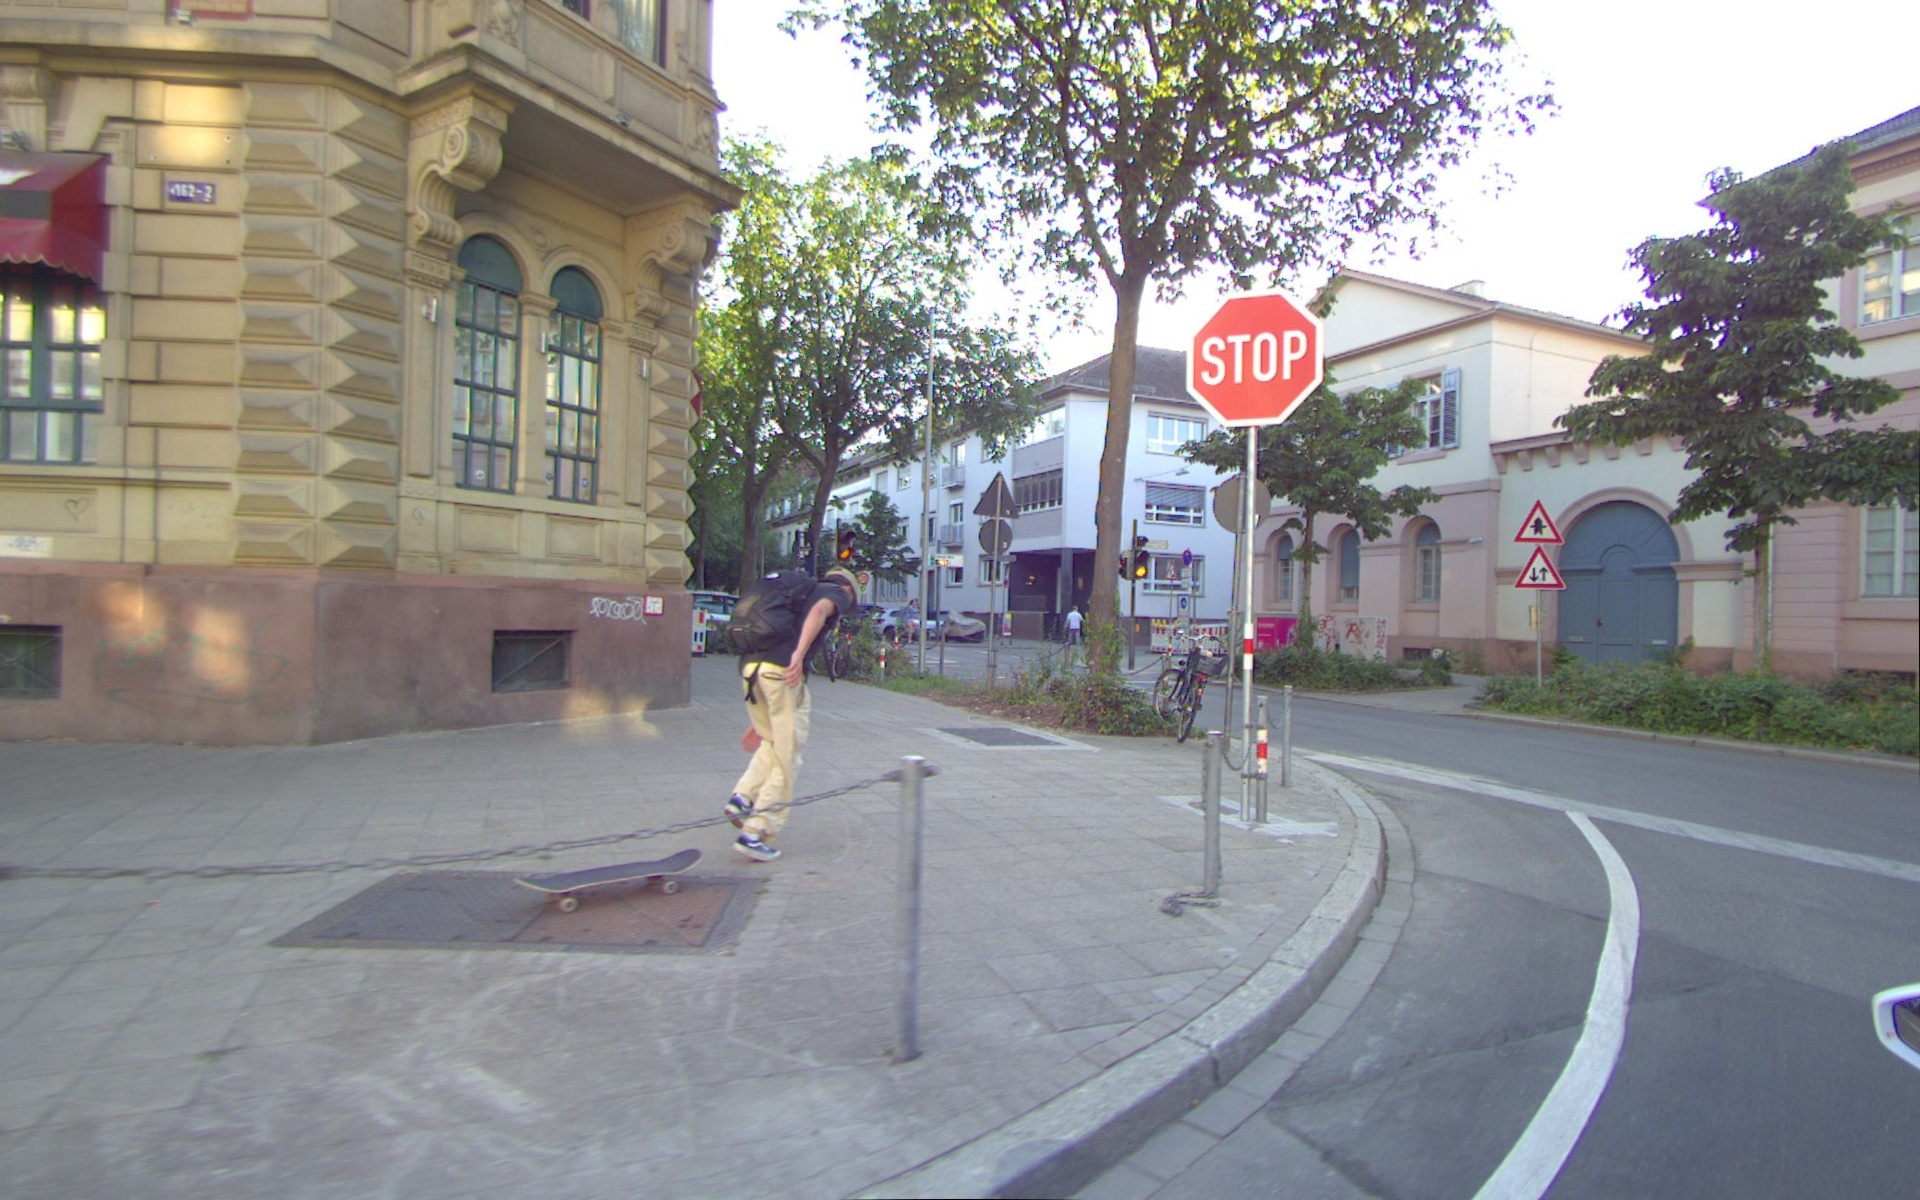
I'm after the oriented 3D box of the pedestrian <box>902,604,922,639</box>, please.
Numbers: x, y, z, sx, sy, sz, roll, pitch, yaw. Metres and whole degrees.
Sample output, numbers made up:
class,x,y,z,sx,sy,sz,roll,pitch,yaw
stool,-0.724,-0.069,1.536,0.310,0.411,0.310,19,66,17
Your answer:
class,x,y,z,sx,sy,sz,roll,pitch,yaw
pedestrian,-2.581,1.154,54.357,0.758,1.865,0.938,2,0,-23

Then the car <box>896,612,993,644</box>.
class,x,y,z,sx,sy,sz,roll,pitch,yaw
car,-0.677,1.244,44.586,3.971,1.360,1.697,1,-1,-24

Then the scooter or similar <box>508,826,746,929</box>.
class,x,y,z,sx,sy,sz,roll,pitch,yaw
scooter or similar,-1.405,1.158,4.270,0.874,0.210,0.414,2,0,-38

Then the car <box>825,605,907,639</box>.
class,x,y,z,sx,sy,sz,roll,pitch,yaw
car,-4.908,1.157,52.547,3.972,1.713,1.697,1,0,-24

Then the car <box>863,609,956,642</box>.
class,x,y,z,sx,sy,sz,roll,pitch,yaw
car,-2.336,1.205,46.760,3.972,1.461,1.697,1,-1,-24

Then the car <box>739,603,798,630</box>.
class,x,y,z,sx,sy,sz,roll,pitch,yaw
car,-14.172,1.209,74.235,3.972,1.854,1.697,2,-1,-24

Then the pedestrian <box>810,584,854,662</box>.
class,x,y,z,sx,sy,sz,roll,pitch,yaw
pedestrian,-3.095,0.562,24.292,0.877,1.839,0.790,1,0,-19

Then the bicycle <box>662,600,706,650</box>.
class,x,y,z,sx,sy,sz,roll,pitch,yaw
bicycle,-7.208,0.623,26.153,0.726,1.202,2.620,3,-1,-22

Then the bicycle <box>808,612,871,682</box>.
class,x,y,z,sx,sy,sz,roll,pitch,yaw
bicycle,-2.242,0.843,18.485,0.505,1.168,2.089,3,-1,-23

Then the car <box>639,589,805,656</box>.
class,x,y,z,sx,sy,sz,roll,pitch,yaw
car,-7.090,0.691,29.991,4.504,1.859,1.821,2,-1,-27

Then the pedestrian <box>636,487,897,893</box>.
class,x,y,z,sx,sy,sz,roll,pitch,yaw
pedestrian,-0.914,0.391,5.113,0.833,1.762,1.267,3,1,10

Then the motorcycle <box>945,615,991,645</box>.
class,x,y,z,sx,sy,sz,roll,pitch,yaw
motorcycle,0.328,1.255,41.574,1.775,1.215,0.611,1,0,-15

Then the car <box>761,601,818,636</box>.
class,x,y,z,sx,sy,sz,roll,pitch,yaw
car,-8.589,0.908,50.315,1.806,1.582,4.003,3,-1,-24

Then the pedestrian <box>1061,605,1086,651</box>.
class,x,y,z,sx,sy,sz,roll,pitch,yaw
pedestrian,4.489,1.097,39.696,0.695,1.775,0.696,2,0,-20

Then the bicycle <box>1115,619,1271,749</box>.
class,x,y,z,sx,sy,sz,roll,pitch,yaw
bicycle,2.584,0.888,11.535,0.830,1.284,2.568,1,0,-9

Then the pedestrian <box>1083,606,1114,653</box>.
class,x,y,z,sx,sy,sz,roll,pitch,yaw
pedestrian,5.439,1.156,39.471,0.919,1.775,0.768,2,0,-19

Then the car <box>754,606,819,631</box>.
class,x,y,z,sx,sy,sz,roll,pitch,yaw
car,-11.660,1.252,67.426,3.972,1.550,1.697,2,-1,-24
